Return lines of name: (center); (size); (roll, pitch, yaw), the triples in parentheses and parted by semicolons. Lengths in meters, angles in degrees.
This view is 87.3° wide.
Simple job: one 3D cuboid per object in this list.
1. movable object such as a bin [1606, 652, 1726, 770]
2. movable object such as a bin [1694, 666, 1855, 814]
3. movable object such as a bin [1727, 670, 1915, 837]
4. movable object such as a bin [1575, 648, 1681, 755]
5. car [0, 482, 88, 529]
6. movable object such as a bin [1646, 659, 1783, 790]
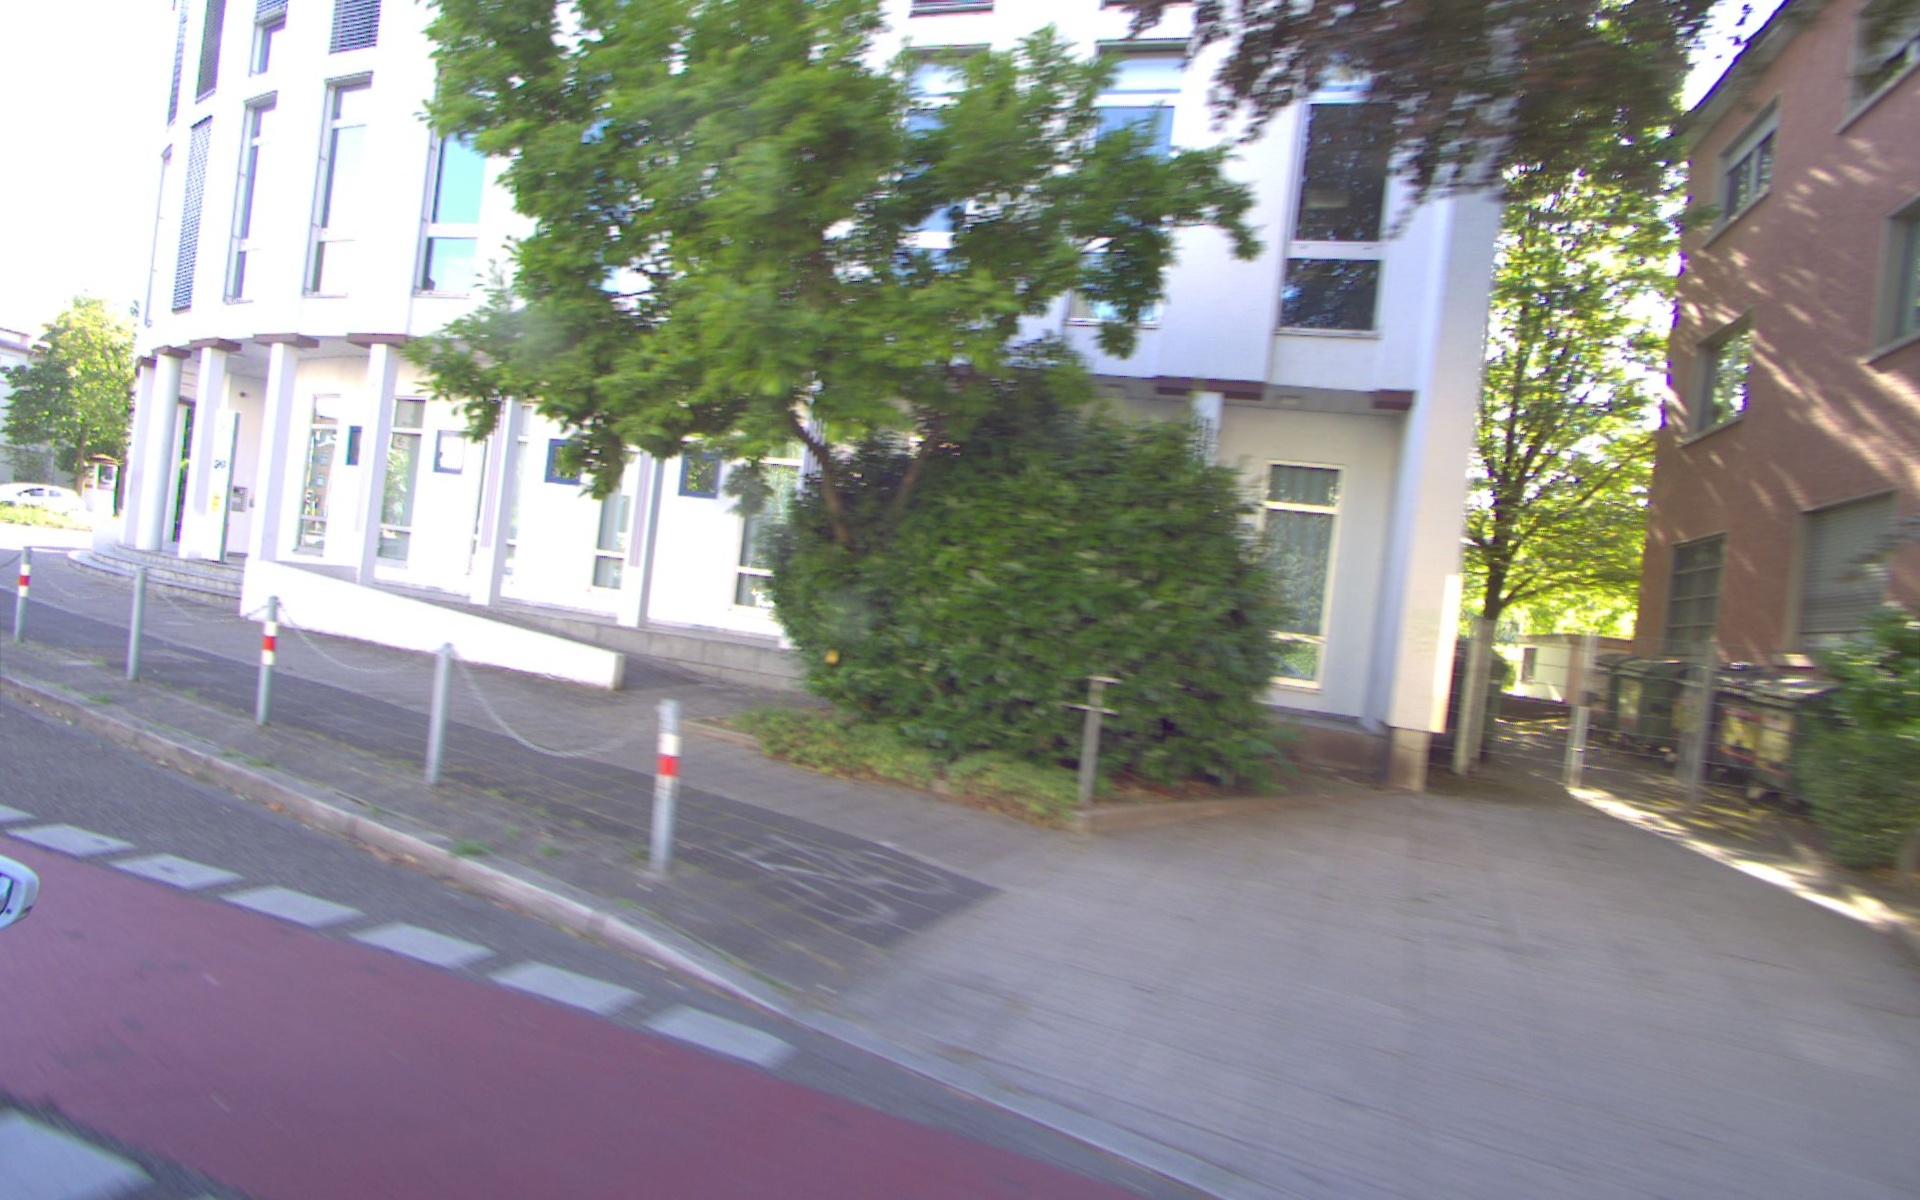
movable object such as a bin: (10.200, 1.565, 14.607); (0.963, 1.462, 1.285); (7, 3, 21)
movable object such as a bin: (9.590, 1.603, 11.928); (0.963, 1.462, 1.285); (7, 3, 21)
movable object such as a bin: (9.029, 1.559, 10.636); (0.963, 1.461, 1.286); (7, 2, 21)
movable object such as a bin: (10.581, 1.581, 15.996); (0.963, 1.462, 1.285); (7, 3, 21)
car: (-38.808, -3.988, 41.347); (1.787, 1.526, 4.190); (7, 0, 10)
movable object such as a bin: (9.910, 1.593, 13.284); (0.963, 1.462, 1.285); (7, 3, 21)
